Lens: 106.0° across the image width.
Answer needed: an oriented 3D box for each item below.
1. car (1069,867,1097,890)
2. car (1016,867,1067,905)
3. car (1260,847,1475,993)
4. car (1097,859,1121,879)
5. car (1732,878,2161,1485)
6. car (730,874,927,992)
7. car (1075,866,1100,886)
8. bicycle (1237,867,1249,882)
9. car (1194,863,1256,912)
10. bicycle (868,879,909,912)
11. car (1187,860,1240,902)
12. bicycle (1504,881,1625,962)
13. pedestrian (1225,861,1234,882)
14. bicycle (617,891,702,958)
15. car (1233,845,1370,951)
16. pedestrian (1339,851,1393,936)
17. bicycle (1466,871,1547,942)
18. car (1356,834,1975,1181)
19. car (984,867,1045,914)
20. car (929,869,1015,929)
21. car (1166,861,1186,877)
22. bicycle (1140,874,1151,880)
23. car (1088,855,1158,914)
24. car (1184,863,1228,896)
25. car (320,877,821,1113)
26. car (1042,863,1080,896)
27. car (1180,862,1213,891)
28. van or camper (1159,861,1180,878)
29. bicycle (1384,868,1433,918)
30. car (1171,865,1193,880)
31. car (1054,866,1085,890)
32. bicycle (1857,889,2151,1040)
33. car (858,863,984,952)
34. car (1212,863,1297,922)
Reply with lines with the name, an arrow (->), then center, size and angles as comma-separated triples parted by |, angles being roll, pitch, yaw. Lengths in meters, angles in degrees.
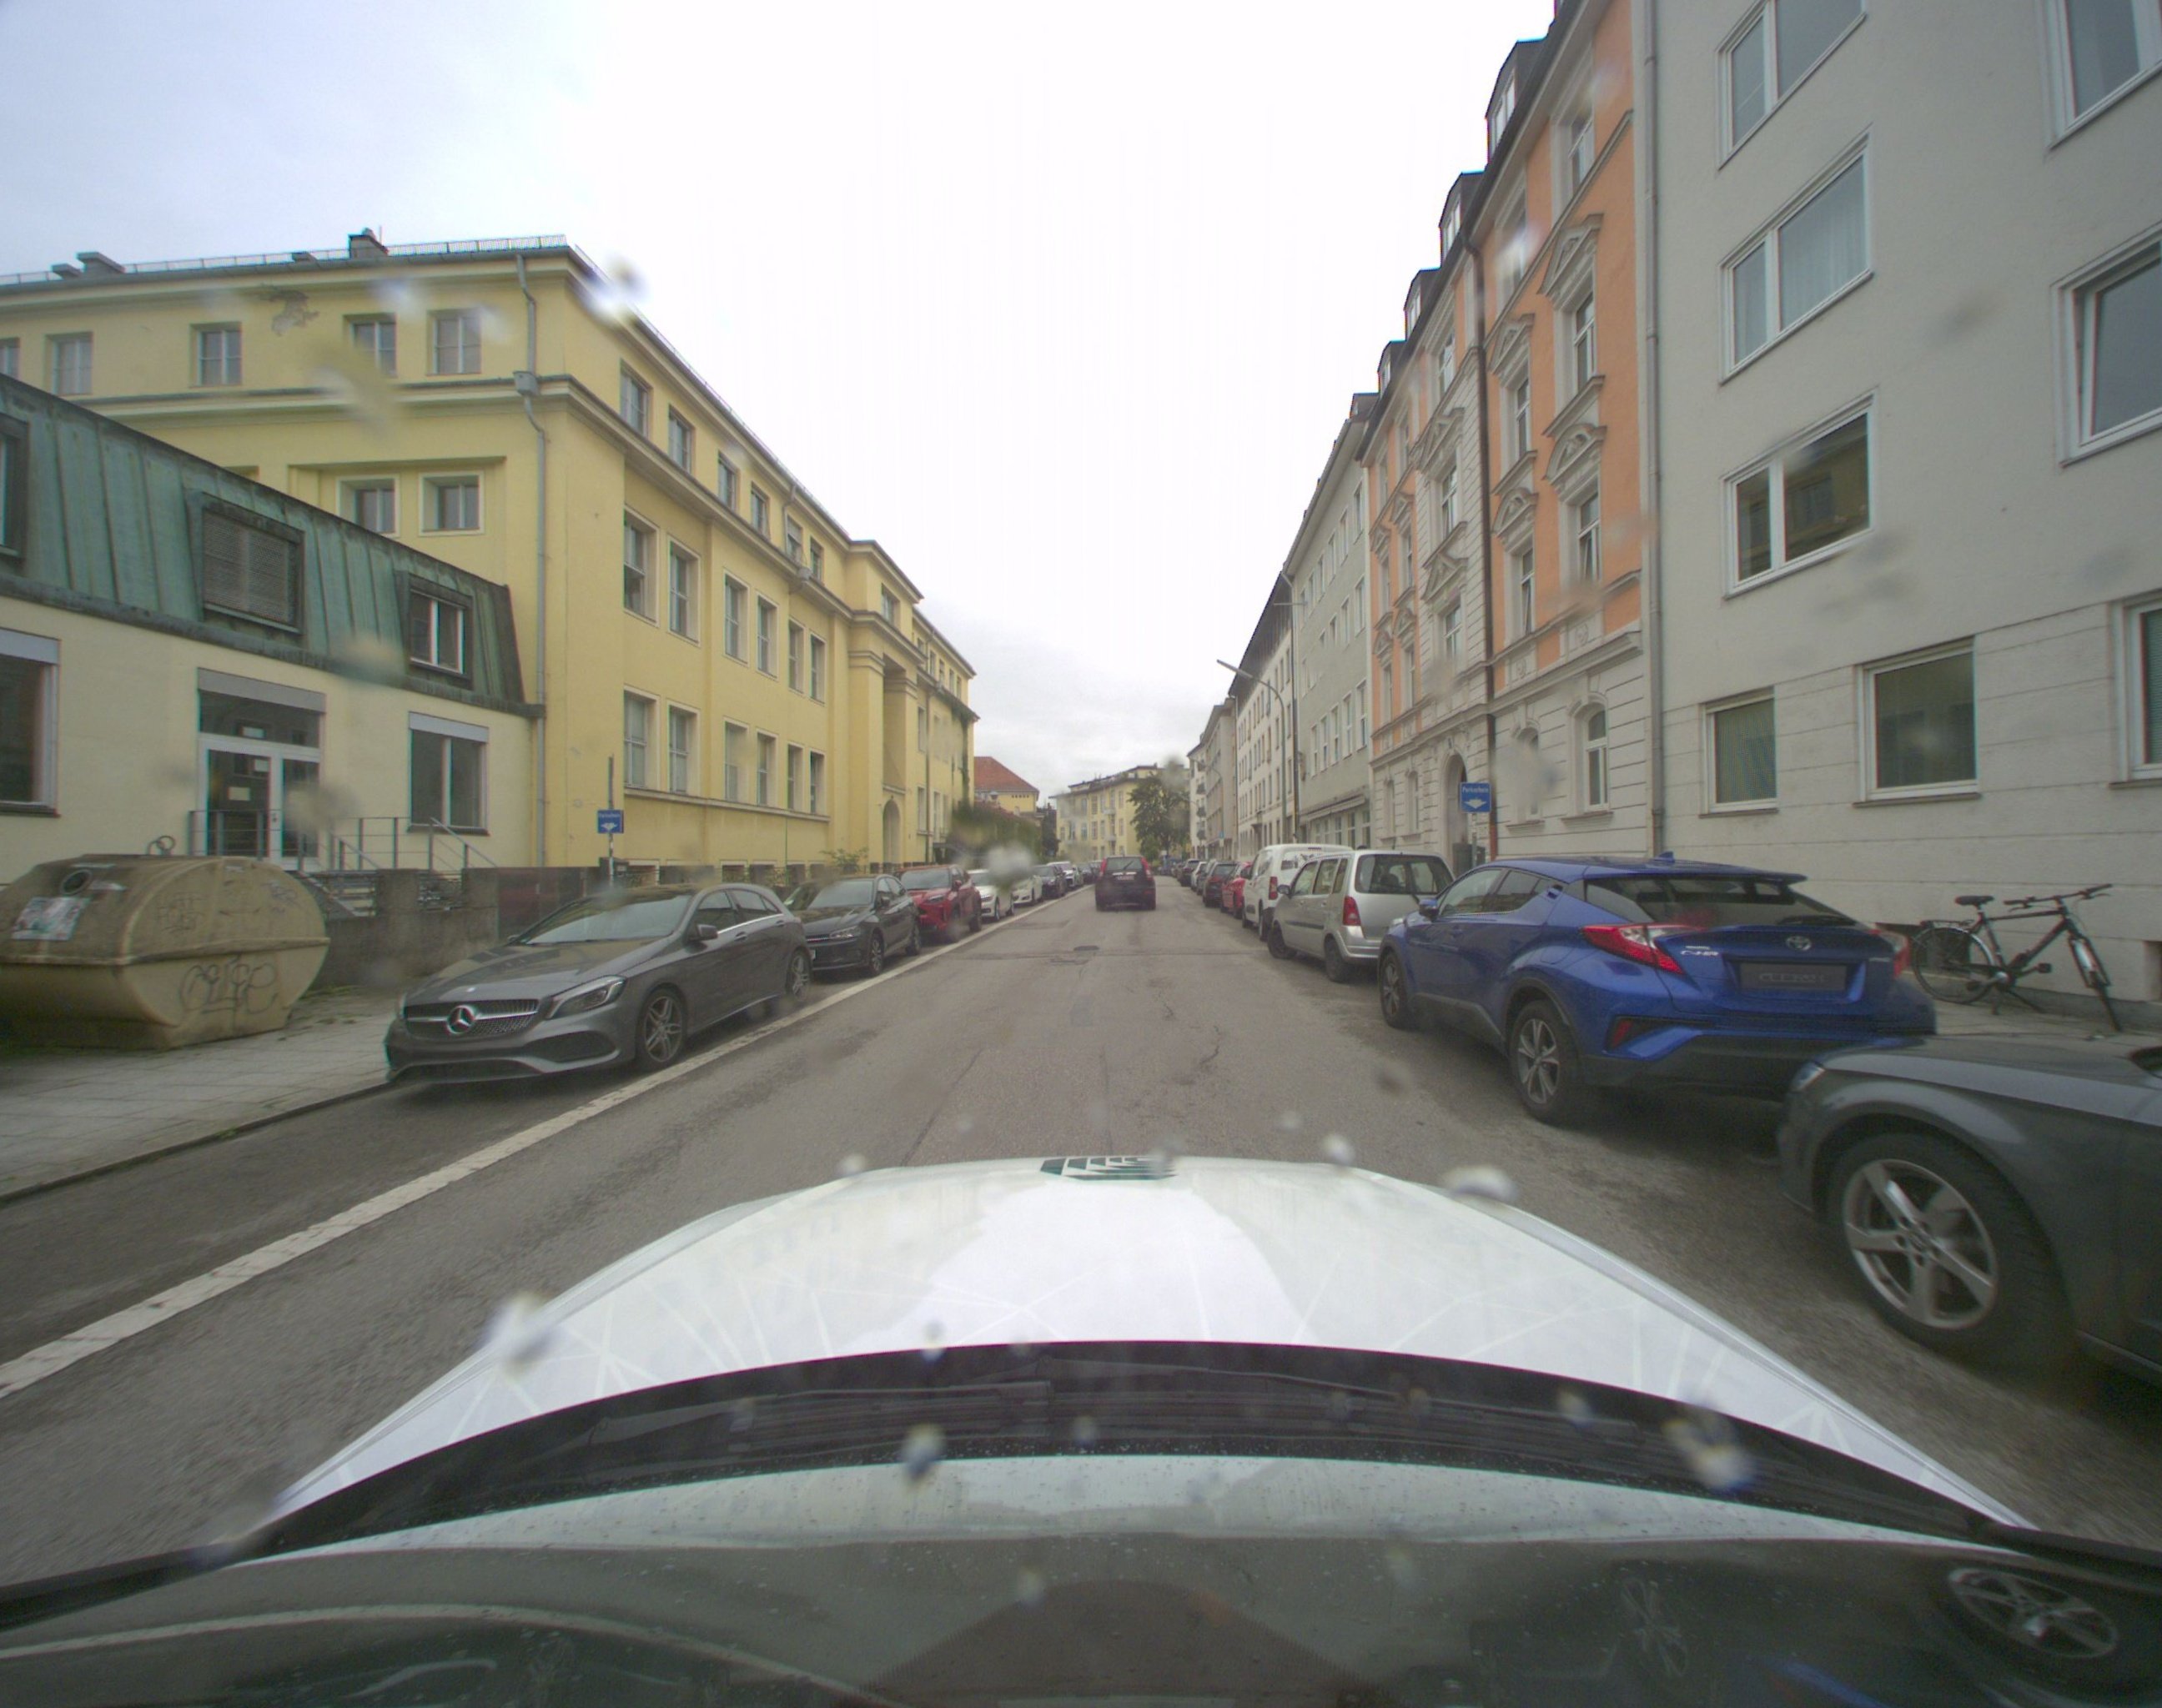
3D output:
car -> 0.162, 1.707, 58.508 | 1.774, 1.538, 4.198 | -1, -1, 3
car -> -1.673, 1.358, 35.765 | 1.672, 1.496, 3.990 | -3, -1, 4
car -> 3.718, 0.801, 11.216 | 1.599, 1.642, 3.629 | 2, -1, -1
car -> 2.792, 1.460, 80.457 | 1.983, 1.875, 4.765 | -1, -1, 6
car -> 3.440, 0.781, 1.065 | 1.736, 1.396, 4.196 | 1, -1, -3
car -> -3.642, 1.066, 12.510 | 1.669, 1.405, 3.990 | -3, -1, 0
car -> 0.550, 1.700, 64.476 | 1.774, 1.538, 4.152 | -1, -1, 3
bicycle -> 13.123, 1.673, 66.072 | 0.656, 1.163, 2.031 | -2, -1, 5
car -> 4.694, 1.073, 26.974 | 1.684, 1.451, 4.089 | 2, -1, 6
bicycle -> -6.760, 1.458, 28.693 | 0.581, 1.077, 1.724 | 1, -1, 17
car -> 5.436, 1.100, 33.892 | 1.685, 1.583, 4.085 | 2, -1, 3
bicycle -> 7.401, 1.000, 12.583 | 0.665, 1.121, 1.954 | 0, -1, -2
pedestrian -> 10.819, 1.275, 59.370 | 0.529, 1.585, 0.561 | -1, -1, 5
bicycle -> -8.322, 1.350, 16.167 | 0.421, 1.172, 1.942 | 1, -1, 8
car -> 4.292, 0.788, 16.603 | 1.832, 1.786, 4.901 | 1, -1, 5
pedestrian -> 5.662, 0.775, 16.227 | 0.857, 1.662, 0.648 | -1, -1, 4
bicycle -> 8.125, 0.963, 15.657 | 0.647, 1.183, 2.099 | -2, 0, 7
car -> 3.482, 0.745, 5.977 | 1.733, 1.588, 4.205 | 1, -1, 4
car -> -2.390, 1.307, 30.167 | 1.717, 1.527, 4.088 | -4, -1, 1
car -> -2.943, 1.183, 22.703 | 1.669, 1.398, 3.998 | -4, -1, 1
car -> 11.566, 1.758, 99.397 | 1.956, 1.816, 4.938 | -3, -1, 2
bicycle -> 11.338, 4.001, 142.940 | 0.613, 1.117, 2.190 | 2, -2, -44
car -> 1.289, 0.906, 25.617 | 1.987, 1.694, 4.382 | 0, -1, 2
car -> 6.113, 1.229, 40.060 | 1.685, 1.464, 4.085 | 2, -1, 3
car -> -4.067, 0.997, 7.479 | 1.786, 1.405, 4.130 | -4, -1, 3
car -> -1.073, 1.386, 45.619 | 1.673, 1.634, 4.360 | -3, -1, 3
car -> 6.565, 1.257, 46.596 | 1.769, 1.584, 4.337 | 0, -1, 7
van or camper -> 11.383, 1.981, 104.970 | 2.054, 2.231, 5.435 | 0, -1, -1
bicycle -> 8.592, 0.998, 21.435 | 0.647, 1.183, 2.099 | -2, 0, 7
car -> 9.622, 1.733, 77.755 | 1.788, 1.420, 4.486 | -1, -1, 3
car -> -0.699, 1.480, 51.195 | 1.673, 1.426, 3.897 | -1, -1, 3
bicycle -> 7.919, 0.887, 7.118 | 0.665, 1.121, 1.650 | 0, -1, -2
car -> -3.216, 1.024, 17.095 | 1.669, 1.566, 3.998 | -4, -1, 1
car -> 4.639, 0.992, 22.339 | 1.592, 1.451, 4.304 | -1, -1, 3
